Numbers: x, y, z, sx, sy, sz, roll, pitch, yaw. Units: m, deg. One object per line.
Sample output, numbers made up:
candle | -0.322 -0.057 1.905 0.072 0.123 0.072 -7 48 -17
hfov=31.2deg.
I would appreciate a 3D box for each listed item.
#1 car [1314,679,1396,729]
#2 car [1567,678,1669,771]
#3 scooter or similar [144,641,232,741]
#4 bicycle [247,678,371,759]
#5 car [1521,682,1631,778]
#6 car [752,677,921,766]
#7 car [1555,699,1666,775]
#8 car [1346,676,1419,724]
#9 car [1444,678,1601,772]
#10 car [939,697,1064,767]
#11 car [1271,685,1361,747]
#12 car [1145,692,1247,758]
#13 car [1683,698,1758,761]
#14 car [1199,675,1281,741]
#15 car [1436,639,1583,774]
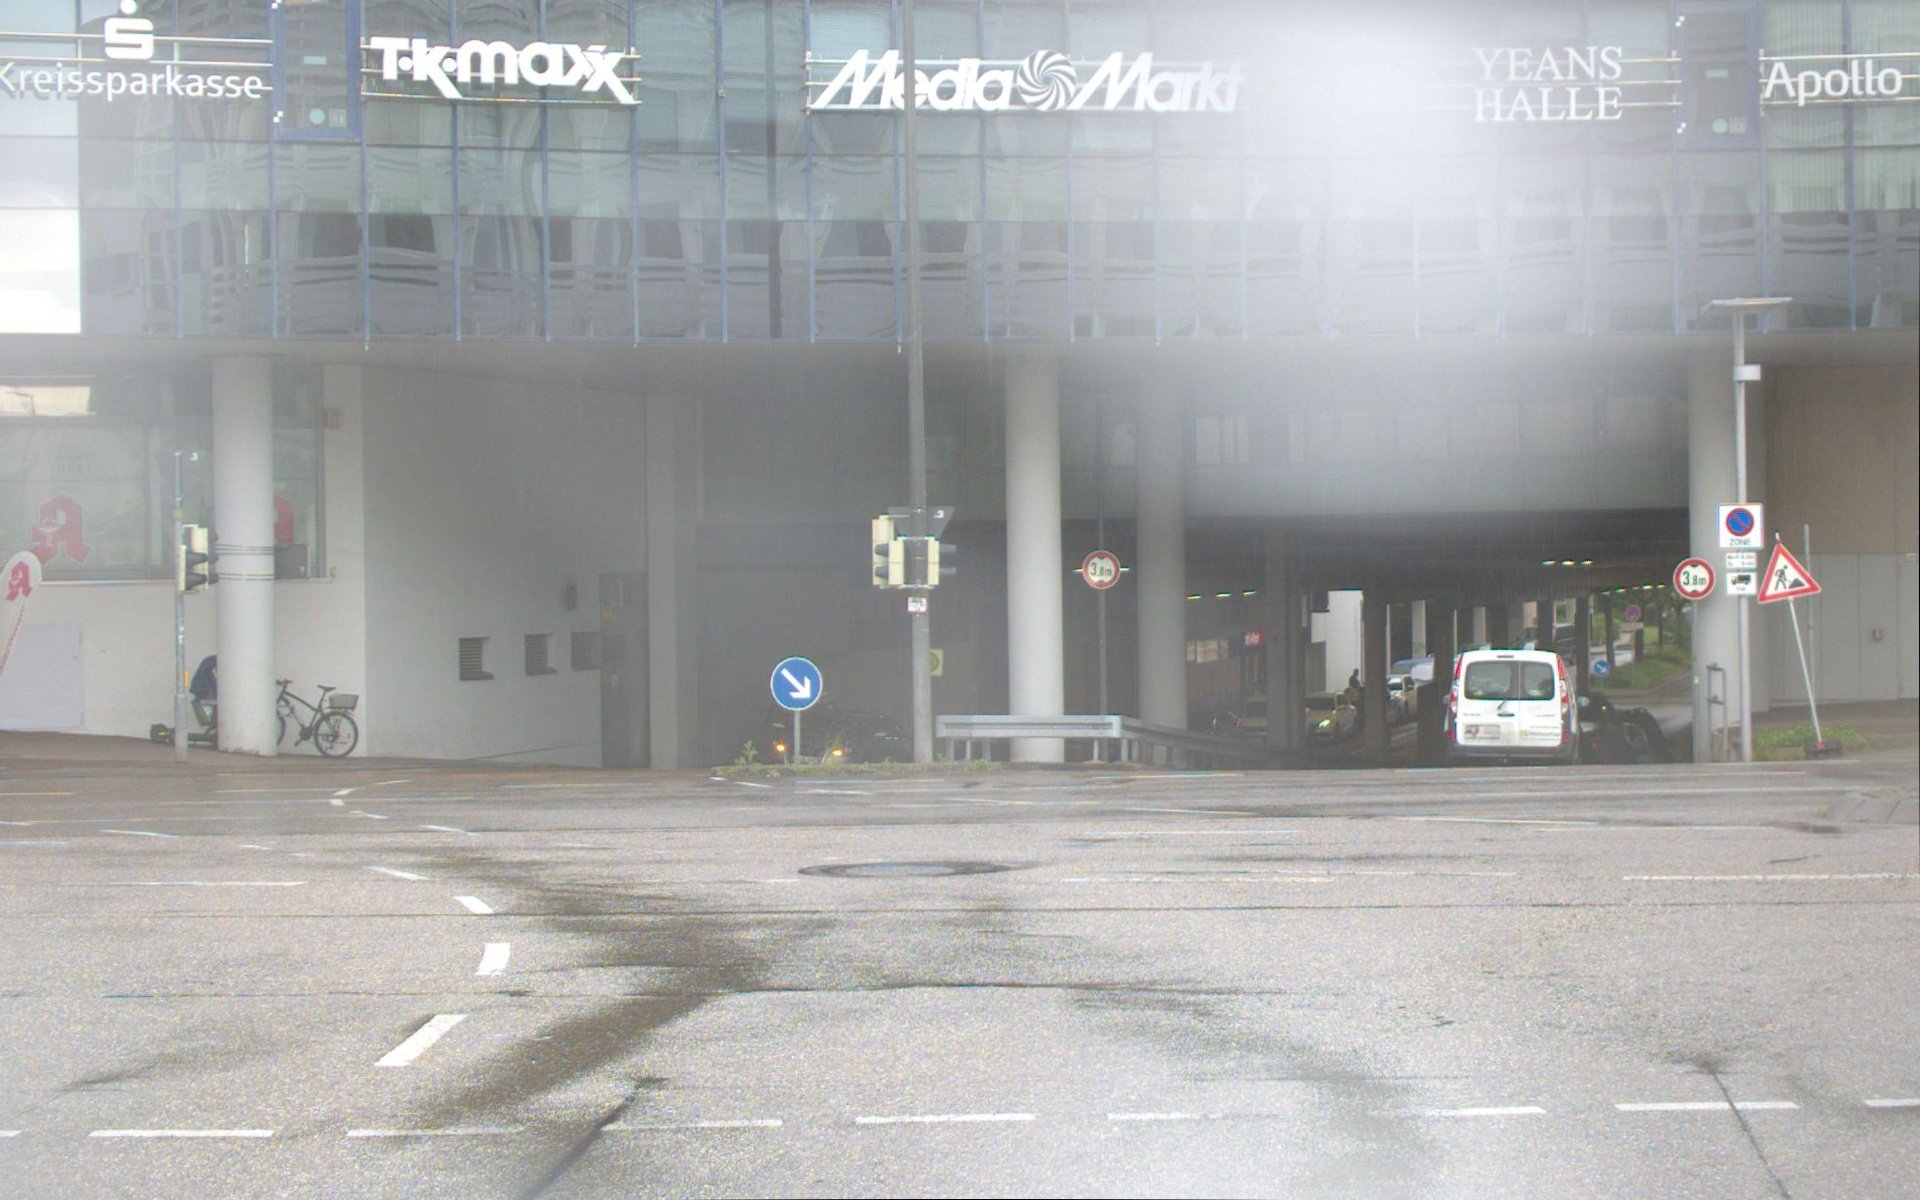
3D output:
car | 12.603 3.314 109.510 1.995 1.459 3.997 -1 -1 15
car | 13.600 2.553 70.901 1.792 1.764 3.997 -1 -1 14
scooter or similar | -10.829 1.276 48.206 1.166 1.368 0.489 1 0 -15
bicycle | -9.224 1.680 48.735 1.581 1.014 0.452 6 -2 -31
car | 10.962 2.299 61.040 1.634 1.606 4.259 -2 -2 13
car | -2.202 2.235 62.520 1.894 1.465 4.023 -1 -4 16
car | 12.547 2.656 66.178 1.781 1.396 3.996 -1 -3 15
car | 14.100 3.324 114.593 1.994 1.459 3.998 -1 -1 13
car | 9.231 2.076 56.233 1.759 1.459 3.938 -2 -3 21
car | 0.933 2.853 74.426 1.772 1.459 3.872 -1 -2 15
car | 10.578 3.415 101.875 1.995 1.658 3.997 1 0 15
car | 6.292 3.306 91.287 1.916 1.582 3.936 -1 -1 15
car | 20.126 3.405 90.898 1.889 1.486 3.838 1 0 13
car | 7.835 3.010 96.087 1.837 1.722 3.998 -1 0 11
car | 7.808 1.488 48.630 1.926 1.791 4.294 -1 -1 10
